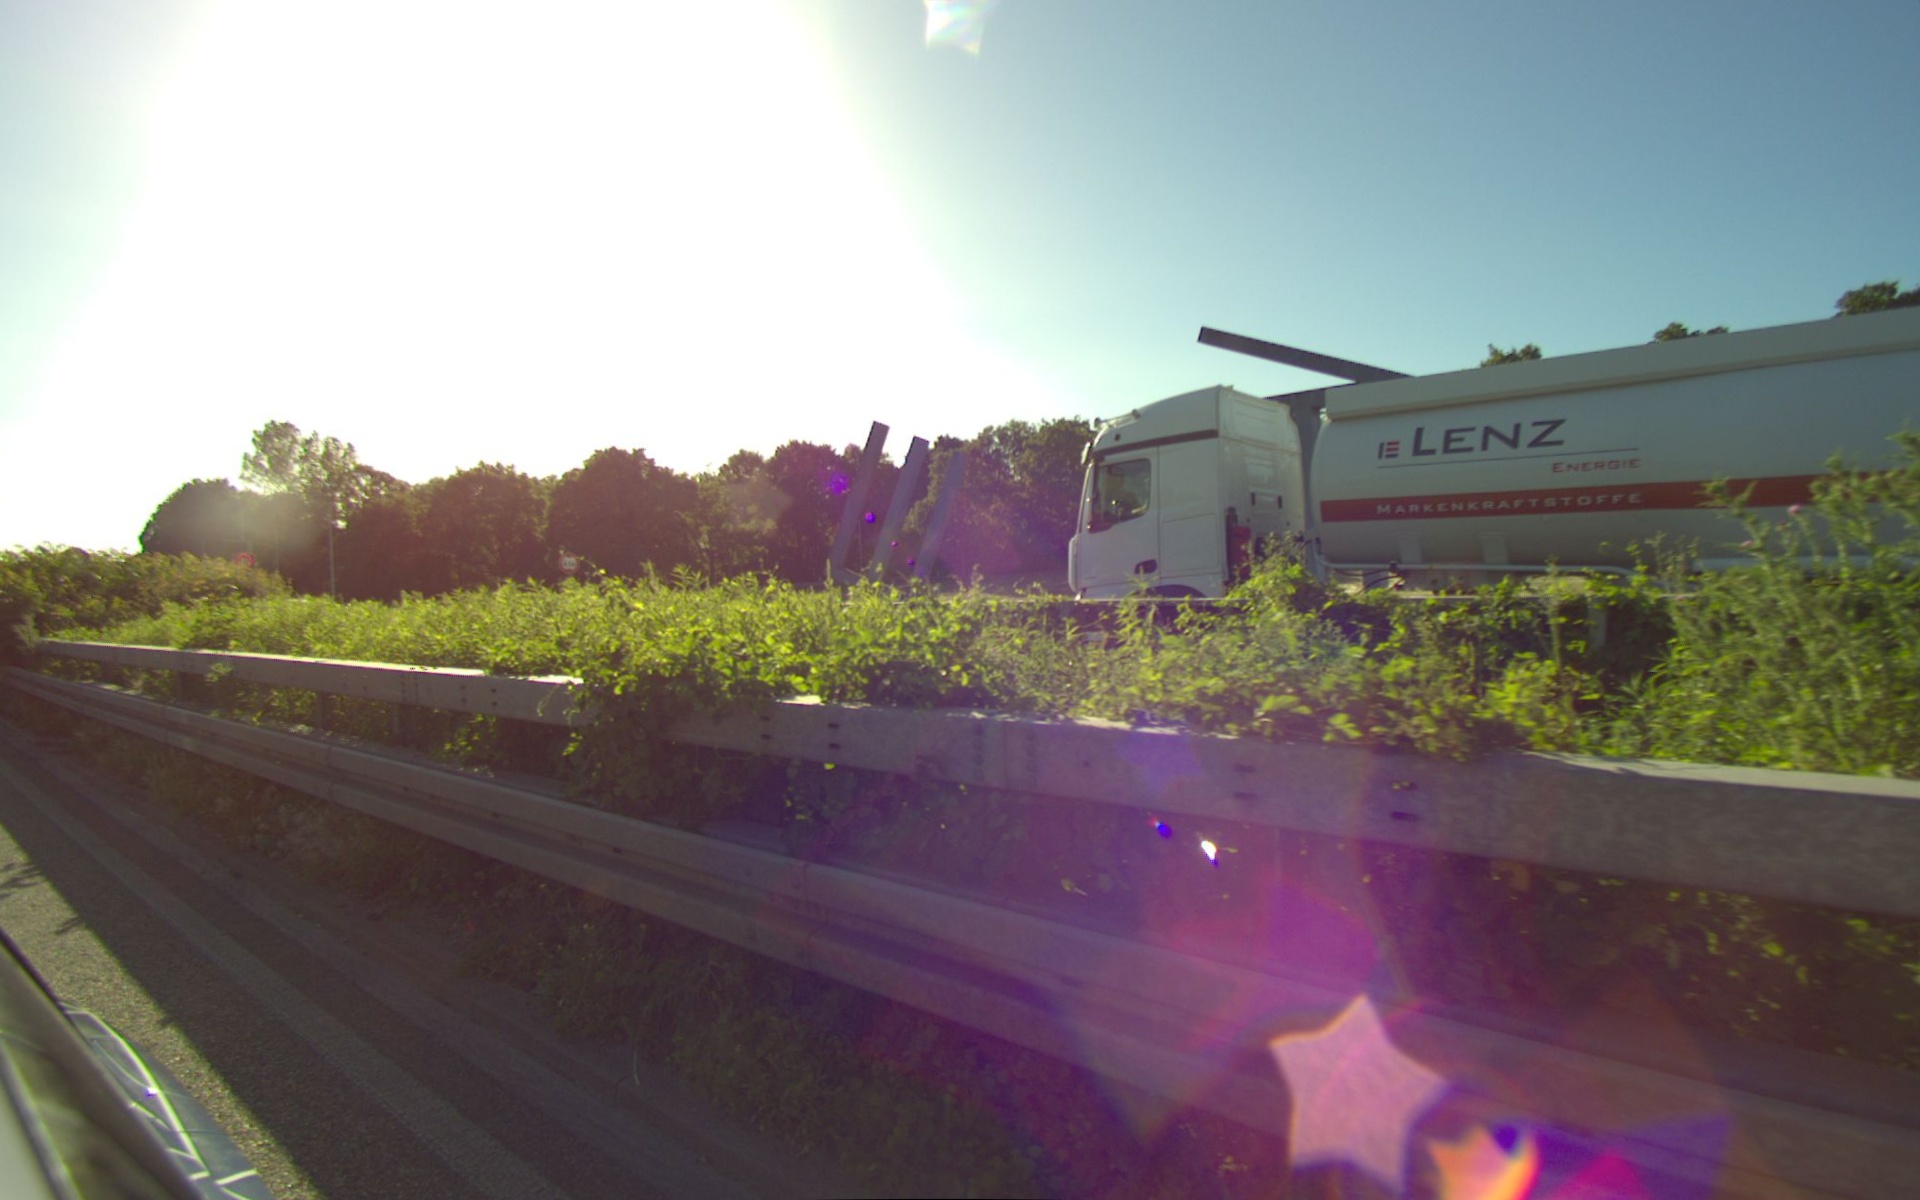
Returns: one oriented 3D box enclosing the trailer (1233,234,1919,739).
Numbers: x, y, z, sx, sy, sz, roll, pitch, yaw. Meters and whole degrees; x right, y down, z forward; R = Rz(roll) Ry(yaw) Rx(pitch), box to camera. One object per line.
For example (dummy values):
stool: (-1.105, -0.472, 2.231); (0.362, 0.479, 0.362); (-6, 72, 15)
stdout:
trailer: (8.471, -0.880, 7.945); (12.200, 3.685, 2.747); (-2, 0, 42)

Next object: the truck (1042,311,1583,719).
truck: (3.965, -0.745, 11.950); (5.321, 3.685, 2.747); (-2, 0, 42)
